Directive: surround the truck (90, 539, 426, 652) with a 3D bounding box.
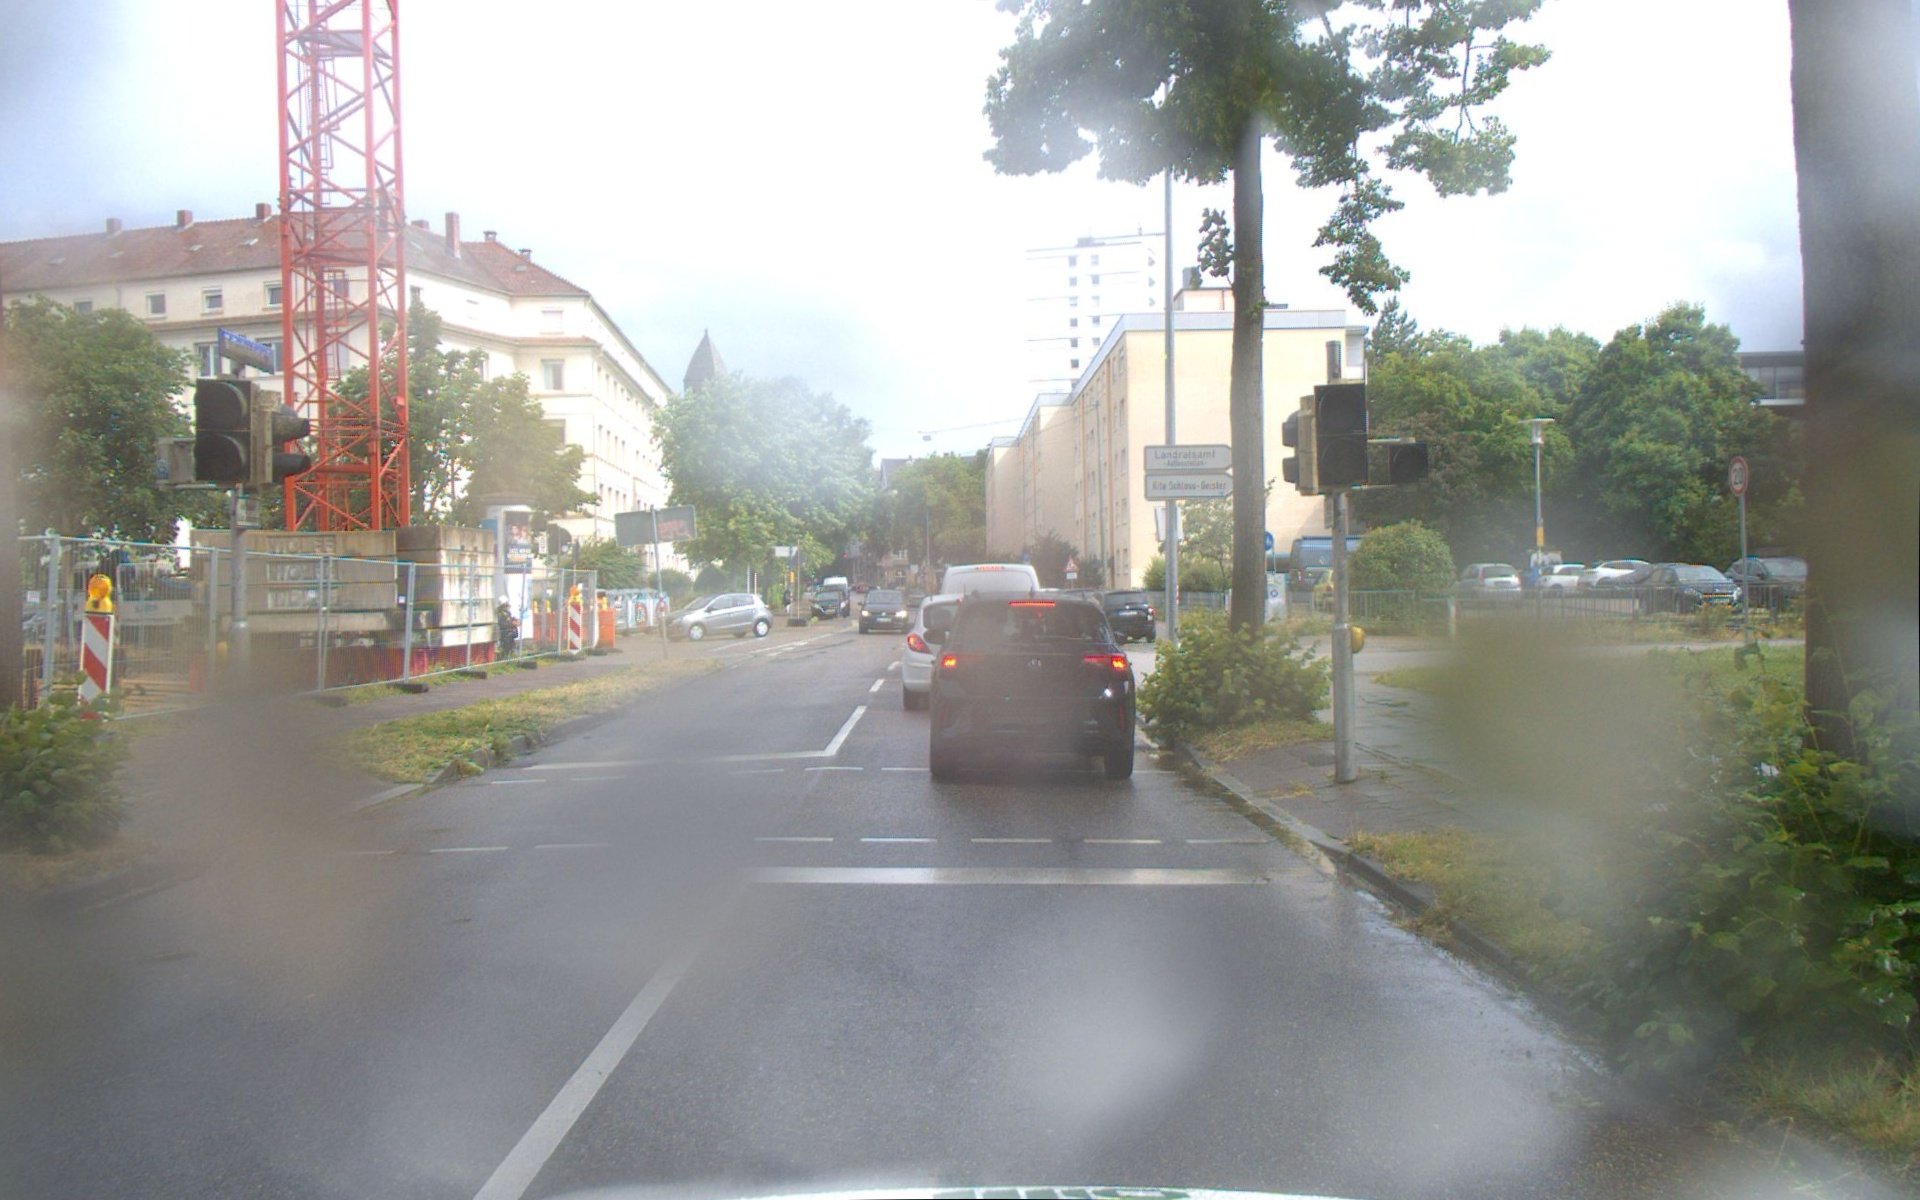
[{"bbox_3d":[-22.777,-0.134,53.839,9.603,3.239,3.795,-2,0,14],"label":"truck"}]

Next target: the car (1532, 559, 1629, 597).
[{"bbox_3d":[26.866,-0.948,71.699,3.590,1.512,1.640,-2,0,3],"label":"car"}]

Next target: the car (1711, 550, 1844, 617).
[{"bbox_3d":[22.737,-0.461,46.182,1.814,1.708,4.426,-2,0,5],"label":"car"}]

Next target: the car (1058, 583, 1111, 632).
[{"bbox_3d":[4.315,0.280,57.630,1.720,1.554,4.001,2,-2,3],"label":"car"}]

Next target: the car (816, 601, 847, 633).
[{"bbox_3d":[-6.698,0.853,86.058,1.555,1.532,4.060,-3,1,-5],"label":"car"}]

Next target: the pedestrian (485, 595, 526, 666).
[{"bbox_3d":[-10.788,0.726,39.277,0.716,1.658,0.675,1,-1,-38],"label":"pedestrian"}]

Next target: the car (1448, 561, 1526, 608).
[{"bbox_3d":[18.253,-0.541,57.427,1.614,1.512,3.720,-2,0,2],"label":"car"}]

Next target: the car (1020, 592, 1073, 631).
[{"bbox_3d":[3.566,0.453,68.930,1.714,1.534,4.109,-1,0,-4],"label":"car"}]

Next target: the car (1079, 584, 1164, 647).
[{"bbox_3d":[4.464,0.394,46.229,1.738,1.566,4.376,-4,1,-2],"label":"car"}]

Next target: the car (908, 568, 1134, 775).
[{"bbox_3d":[0.484,0.596,15.566,1.835,1.674,4.061,0,0,-1],"label":"car"}]

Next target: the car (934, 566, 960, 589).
[{"bbox_3d":[-1.000,-1.701,125.525,1.803,1.636,3.676,-3,0,1],"label":"car"}]

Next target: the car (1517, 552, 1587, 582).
[{"bbox_3d":[31.293,-1.741,87.536,3.158,1.422,1.509,-2,0,3],"label":"car"}]

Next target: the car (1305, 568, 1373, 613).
[{"bbox_3d":[13.200,-0.329,57.768,1.577,1.474,3.417,-2,0,0],"label":"car"}]

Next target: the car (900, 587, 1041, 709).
[{"bbox_3d":[0.120,0.624,22.963,1.776,1.529,3.999,1,0,0],"label":"car"}]

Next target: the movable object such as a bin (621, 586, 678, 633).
[{"bbox_3d":[-11.601,0.348,61.834,1.505,1.691,1.459,-2,1,19],"label":"movable object such as a bin"}]

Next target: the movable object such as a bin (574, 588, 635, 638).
[{"bbox_3d":[-12.604,0.466,58.745,1.505,1.685,1.528,-2,1,19],"label":"movable object such as a bin"}]

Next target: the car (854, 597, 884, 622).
[{"bbox_3d":[-6.527,0.692,119.311,1.803,1.636,4.000,-3,0,1],"label":"car"}]

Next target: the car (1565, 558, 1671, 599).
[{"bbox_3d":[26.468,-0.873,66.631,3.590,1.512,1.640,-2,0,3],"label":"car"}]

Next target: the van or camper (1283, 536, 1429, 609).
[{"bbox_3d":[14.693,-1.003,61.539,4.895,2.599,2.175,-1,-1,1],"label":"van or camper"}]

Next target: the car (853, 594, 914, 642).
[{"bbox_3d":[-2.556,0.606,56.055,1.776,1.567,3.982,0,0,1],"label":"car"}]

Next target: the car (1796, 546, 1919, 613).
[{"bbox_3d":[24.800,-0.575,45.139,1.815,1.708,4.424,-2,0,2],"label":"car"}]

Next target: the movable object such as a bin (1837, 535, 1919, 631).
[{"bbox_3d":[14.811,-0.277,26.588,0.783,1.482,1.097,-3,1,1],"label":"movable object such as a bin"}]

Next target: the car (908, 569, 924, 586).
[{"bbox_3d":[-5.040,-2.513,188.266,1.632,1.870,3.998,-2,1,-2],"label":"car"}]

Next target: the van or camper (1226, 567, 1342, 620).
[{"bbox_3d":[14.015,-0.298,71.751,4.660,2.168,2.323,-1,1,3],"label":"van or camper"}]

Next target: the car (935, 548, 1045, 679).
[{"bbox_3d":[0.552,0.240,29.366,1.798,2.139,4.001,1,0,1],"label":"car"}]

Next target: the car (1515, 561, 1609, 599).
[{"bbox_3d":[26.934,-0.895,74.020,3.590,1.512,1.640,-2,0,3],"label":"car"}]

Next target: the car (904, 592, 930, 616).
[{"bbox_3d":[-3.213,0.297,123.401,1.705,1.636,3.676,-3,0,1],"label":"car"}]

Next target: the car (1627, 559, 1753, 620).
[{"bbox_3d":[20.351,-0.307,46.306,1.790,1.553,4.426,-2,0,4],"label":"car"}]

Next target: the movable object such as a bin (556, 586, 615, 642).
[{"bbox_3d":[-12.941,0.485,57.201,1.505,1.856,1.264,-2,1,19],"label":"movable object such as a bin"}]

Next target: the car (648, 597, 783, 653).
[{"bbox_3d":[-7.918,0.778,53.672,3.948,1.665,1.875,-2,1,-32],"label":"car"}]

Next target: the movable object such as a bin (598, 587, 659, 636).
[{"bbox_3d":[-12.088,0.418,60.313,1.505,1.703,1.667,-2,1,19],"label":"movable object such as a bin"}]
